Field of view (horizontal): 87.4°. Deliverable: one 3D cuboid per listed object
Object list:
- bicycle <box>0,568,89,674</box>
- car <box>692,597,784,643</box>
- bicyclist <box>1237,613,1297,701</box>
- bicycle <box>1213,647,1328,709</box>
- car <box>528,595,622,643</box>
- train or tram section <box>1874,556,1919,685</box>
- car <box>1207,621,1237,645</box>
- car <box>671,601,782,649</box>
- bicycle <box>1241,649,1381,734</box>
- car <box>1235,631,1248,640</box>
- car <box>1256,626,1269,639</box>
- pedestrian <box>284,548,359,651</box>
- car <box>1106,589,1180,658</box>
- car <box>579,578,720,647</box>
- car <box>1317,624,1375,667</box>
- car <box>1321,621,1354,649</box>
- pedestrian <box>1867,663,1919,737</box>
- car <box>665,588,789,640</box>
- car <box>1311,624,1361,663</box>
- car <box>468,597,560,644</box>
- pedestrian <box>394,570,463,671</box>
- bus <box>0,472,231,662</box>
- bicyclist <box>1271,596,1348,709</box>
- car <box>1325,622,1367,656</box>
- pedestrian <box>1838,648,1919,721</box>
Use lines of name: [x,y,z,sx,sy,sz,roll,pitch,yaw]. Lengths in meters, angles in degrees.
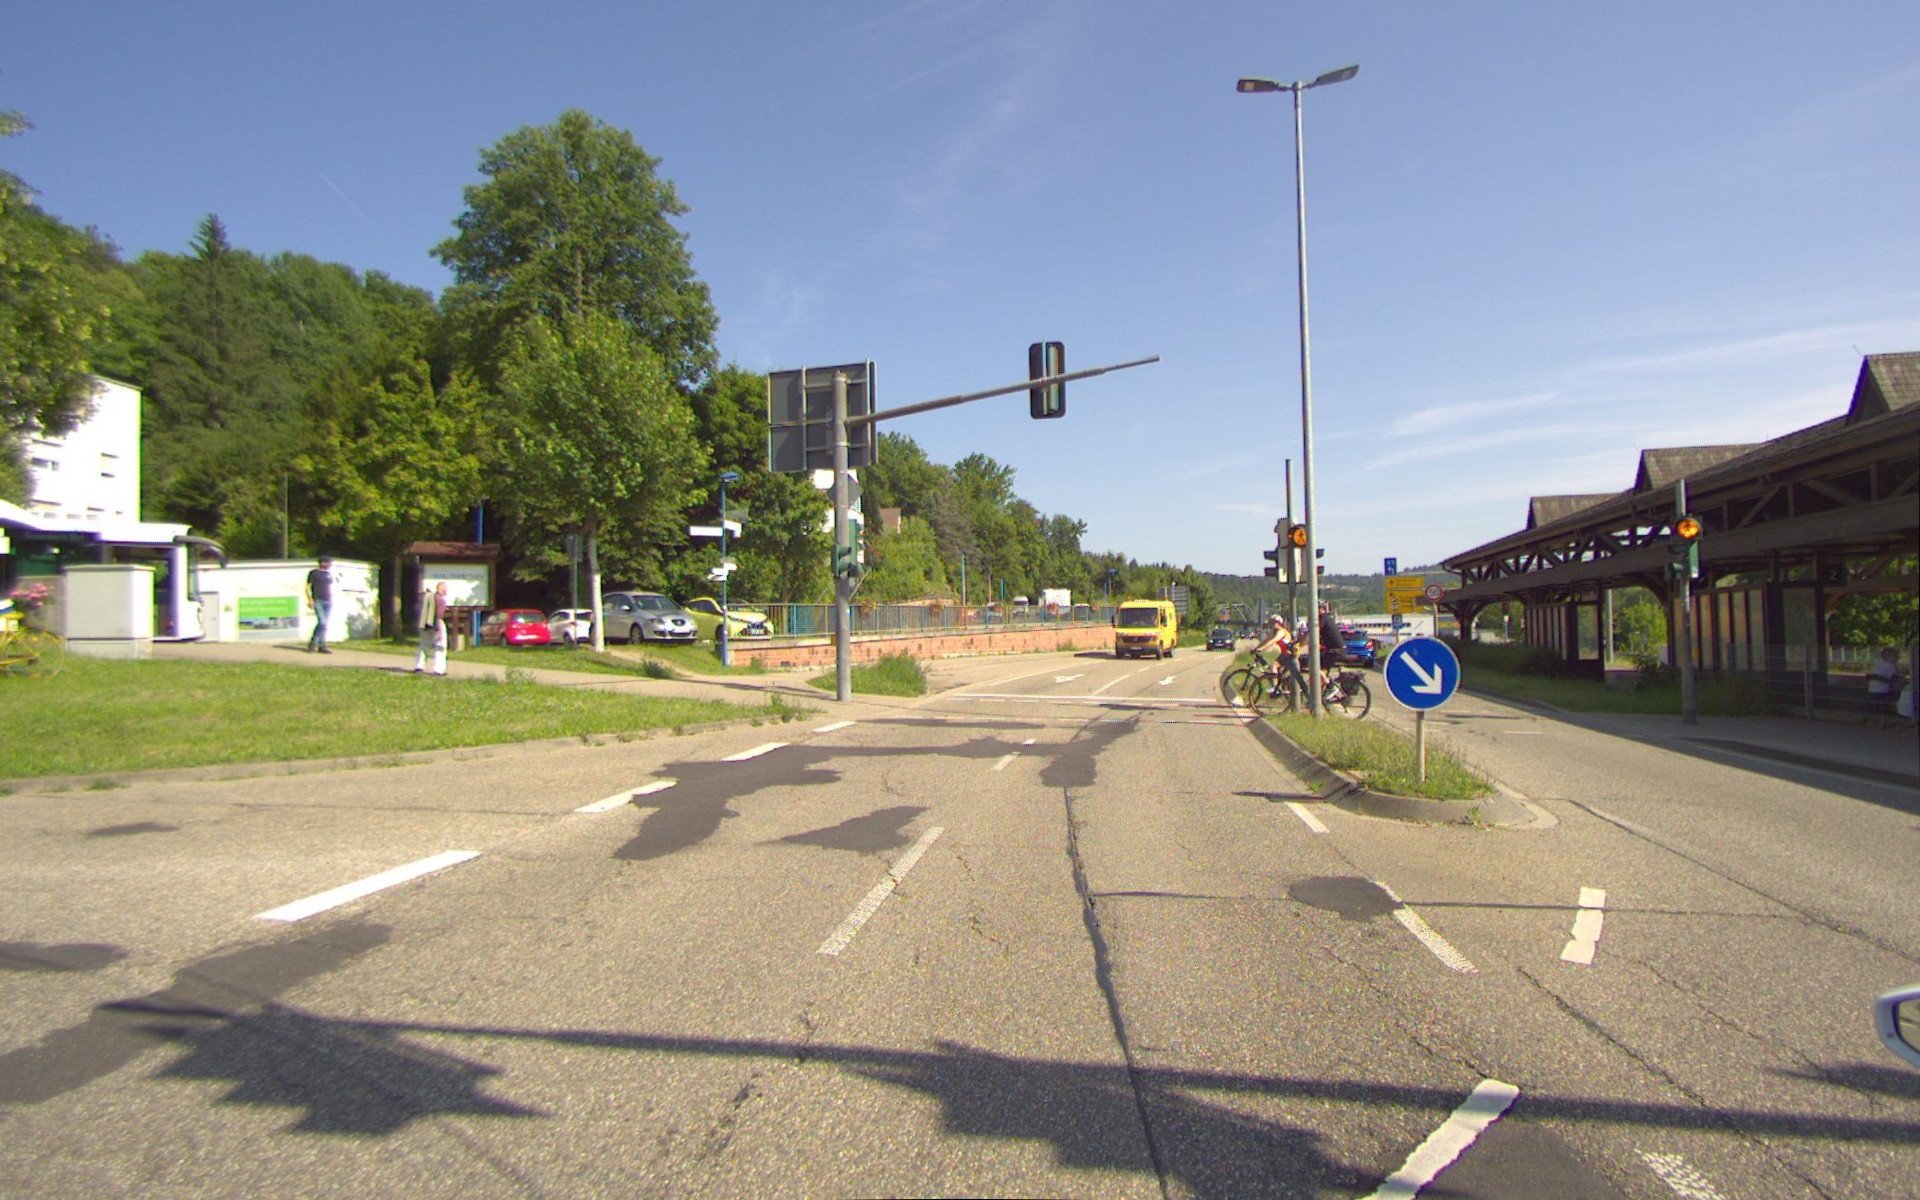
bicycle: [-12.050,0.253,12.485,0.608,1.272,1.757,5,3,18]
car: [-10.006,0.879,45.162,3.937,1.900,1.906,2,0,38]
bicyclist: [5.664,1.032,18.578,0.938,1.585,0.807,0,0,8]
bicycle: [5.712,1.428,18.574,1.933,1.079,0.735,0,0,8]
car: [-15.281,0.720,39.800,3.942,1.723,1.903,3,1,42]
train or tram section: [25.721,0.510,22.105,2.709,3.409,12.055,2,-1,13]
car: [17.184,2.147,65.764,1.716,1.482,4.045,0,-1,17]
car: [-9.328,1.007,40.297,3.974,1.813,1.896,2,-2,-45]
bicycle: [5.527,1.424,15.930,1.959,1.178,0.735,2,0,10]
car: [47.650,5.963,170.141,1.762,1.490,4.716,1,-1,20]
car: [49.228,5.267,163.213,1.960,2.040,4.002,1,-1,17]
pedestrian: [-12.533,-0.004,19.739,0.726,1.933,0.858,4,0,12]
car: [8.942,1.161,48.499,2.426,3.050,6.467,2,-1,20]
car: [-8.931,0.341,28.692,2.044,1.718,4.356,3,0,-44]
car: [15.378,1.784,40.135,1.837,1.568,4.002,1,-1,17]
car: [26.045,2.388,69.361,1.960,1.759,4.001,2,-1,19]
pedestrian: [13.874,1.449,14.575,0.729,0.995,0.769,2,0,10]
car: [-7.184,0.414,30.731,1.901,1.400,3.947,2,0,-44]
car: [16.963,1.949,45.443,1.960,1.592,4.001,2,-1,19]
car: [-16.887,0.757,37.959,1.902,1.580,3.946,2,0,-45]
pedestrian: [-9.284,0.349,17.568,0.698,1.700,0.741,2,0,13]
bus: [-21.741,-0.756,19.434,12.123,3.763,2.835,2,0,-41]
bicyclist: [5.522,0.809,15.924,0.973,1.713,0.807,2,0,10]
car: [21.483,2.151,56.049,1.960,1.709,4.498,2,-1,19]
pedestrian: [15.452,1.410,16.911,0.729,1.131,0.668,2,0,10]
